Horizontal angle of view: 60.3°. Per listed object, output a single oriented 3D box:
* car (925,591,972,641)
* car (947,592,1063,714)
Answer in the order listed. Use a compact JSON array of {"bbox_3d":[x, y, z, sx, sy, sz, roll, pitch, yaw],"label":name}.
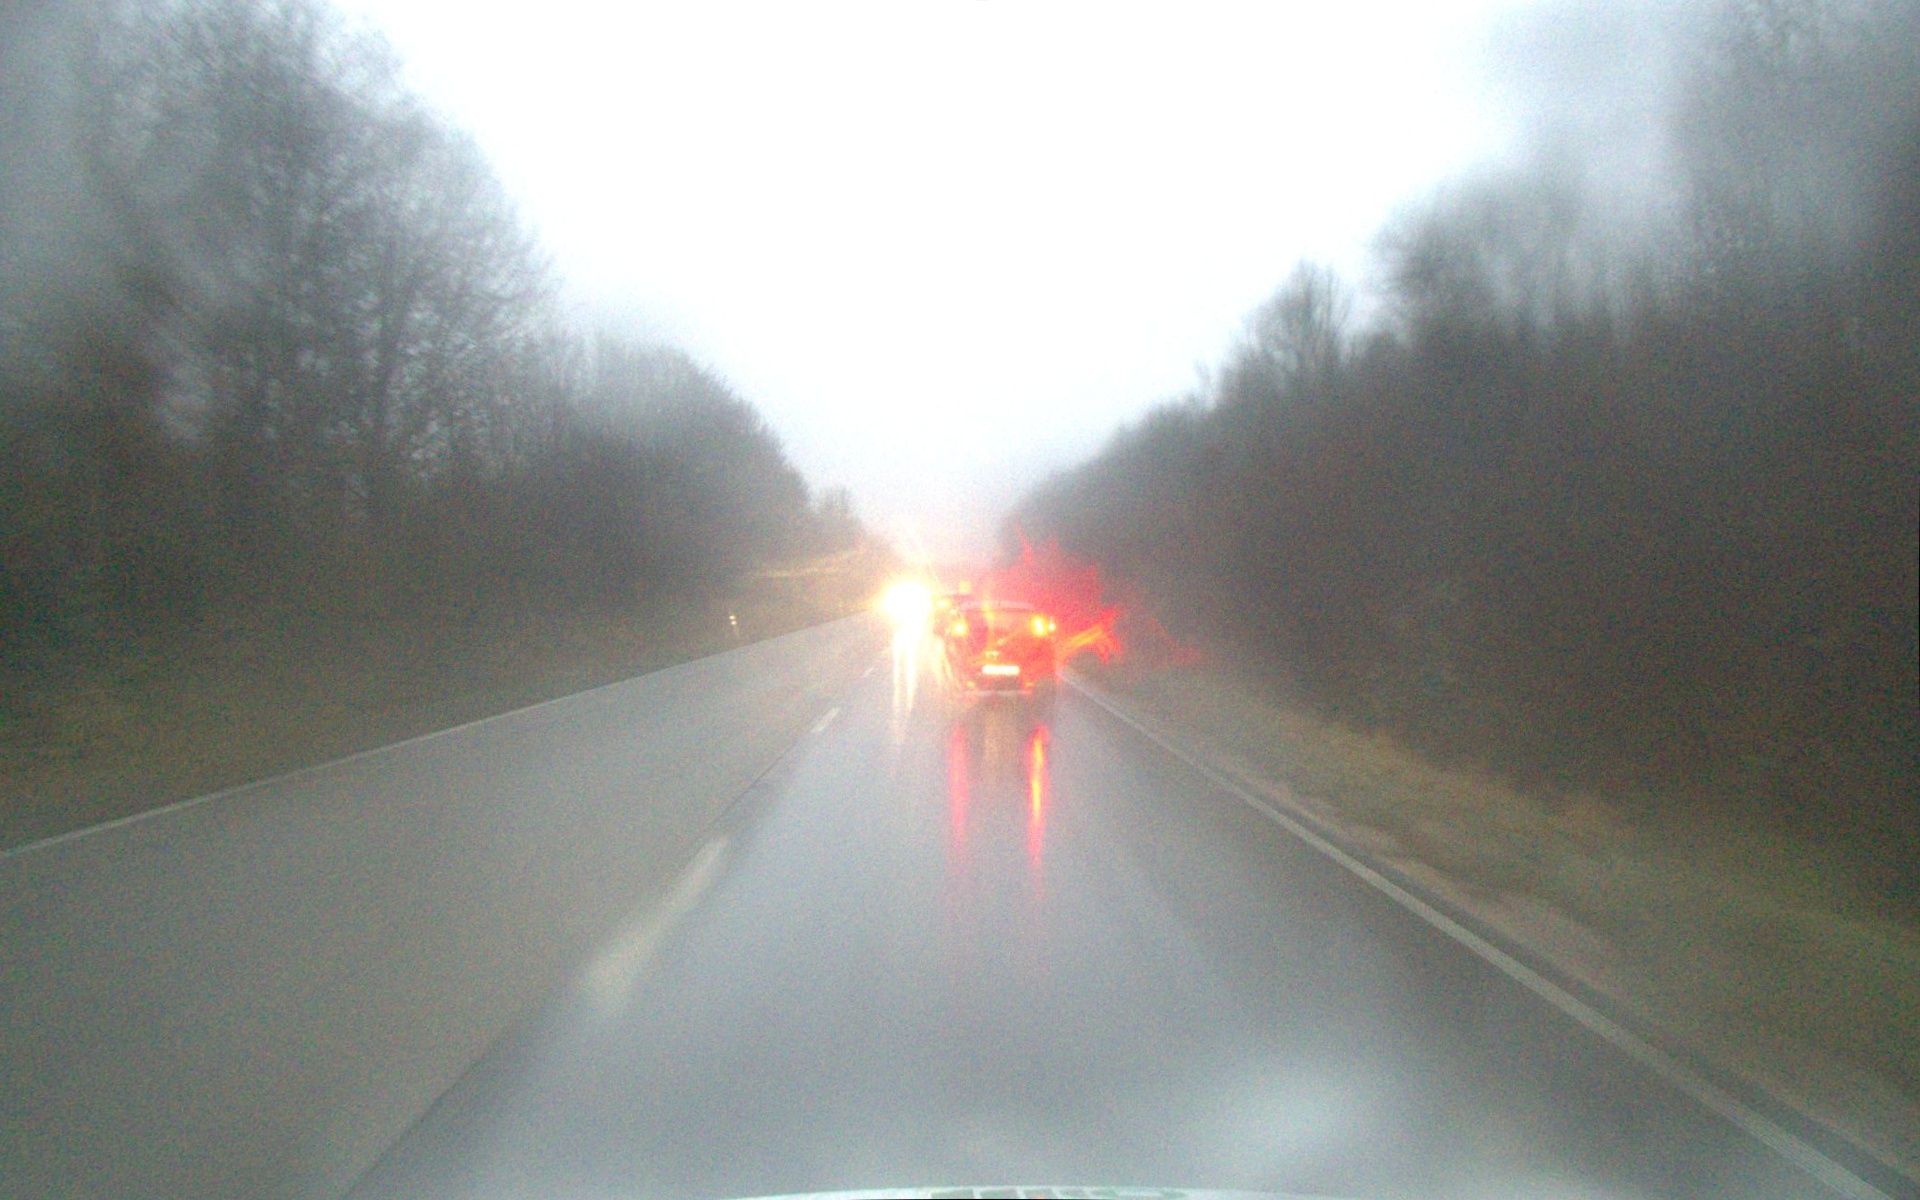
[{"bbox_3d":[-0.460,0.581,62.476,1.698,1.810,3.999,1,0,-1],"label":"car"},{"bbox_3d":[0.659,0.745,24.961,1.614,1.701,3.514,1,0,1],"label":"car"}]
